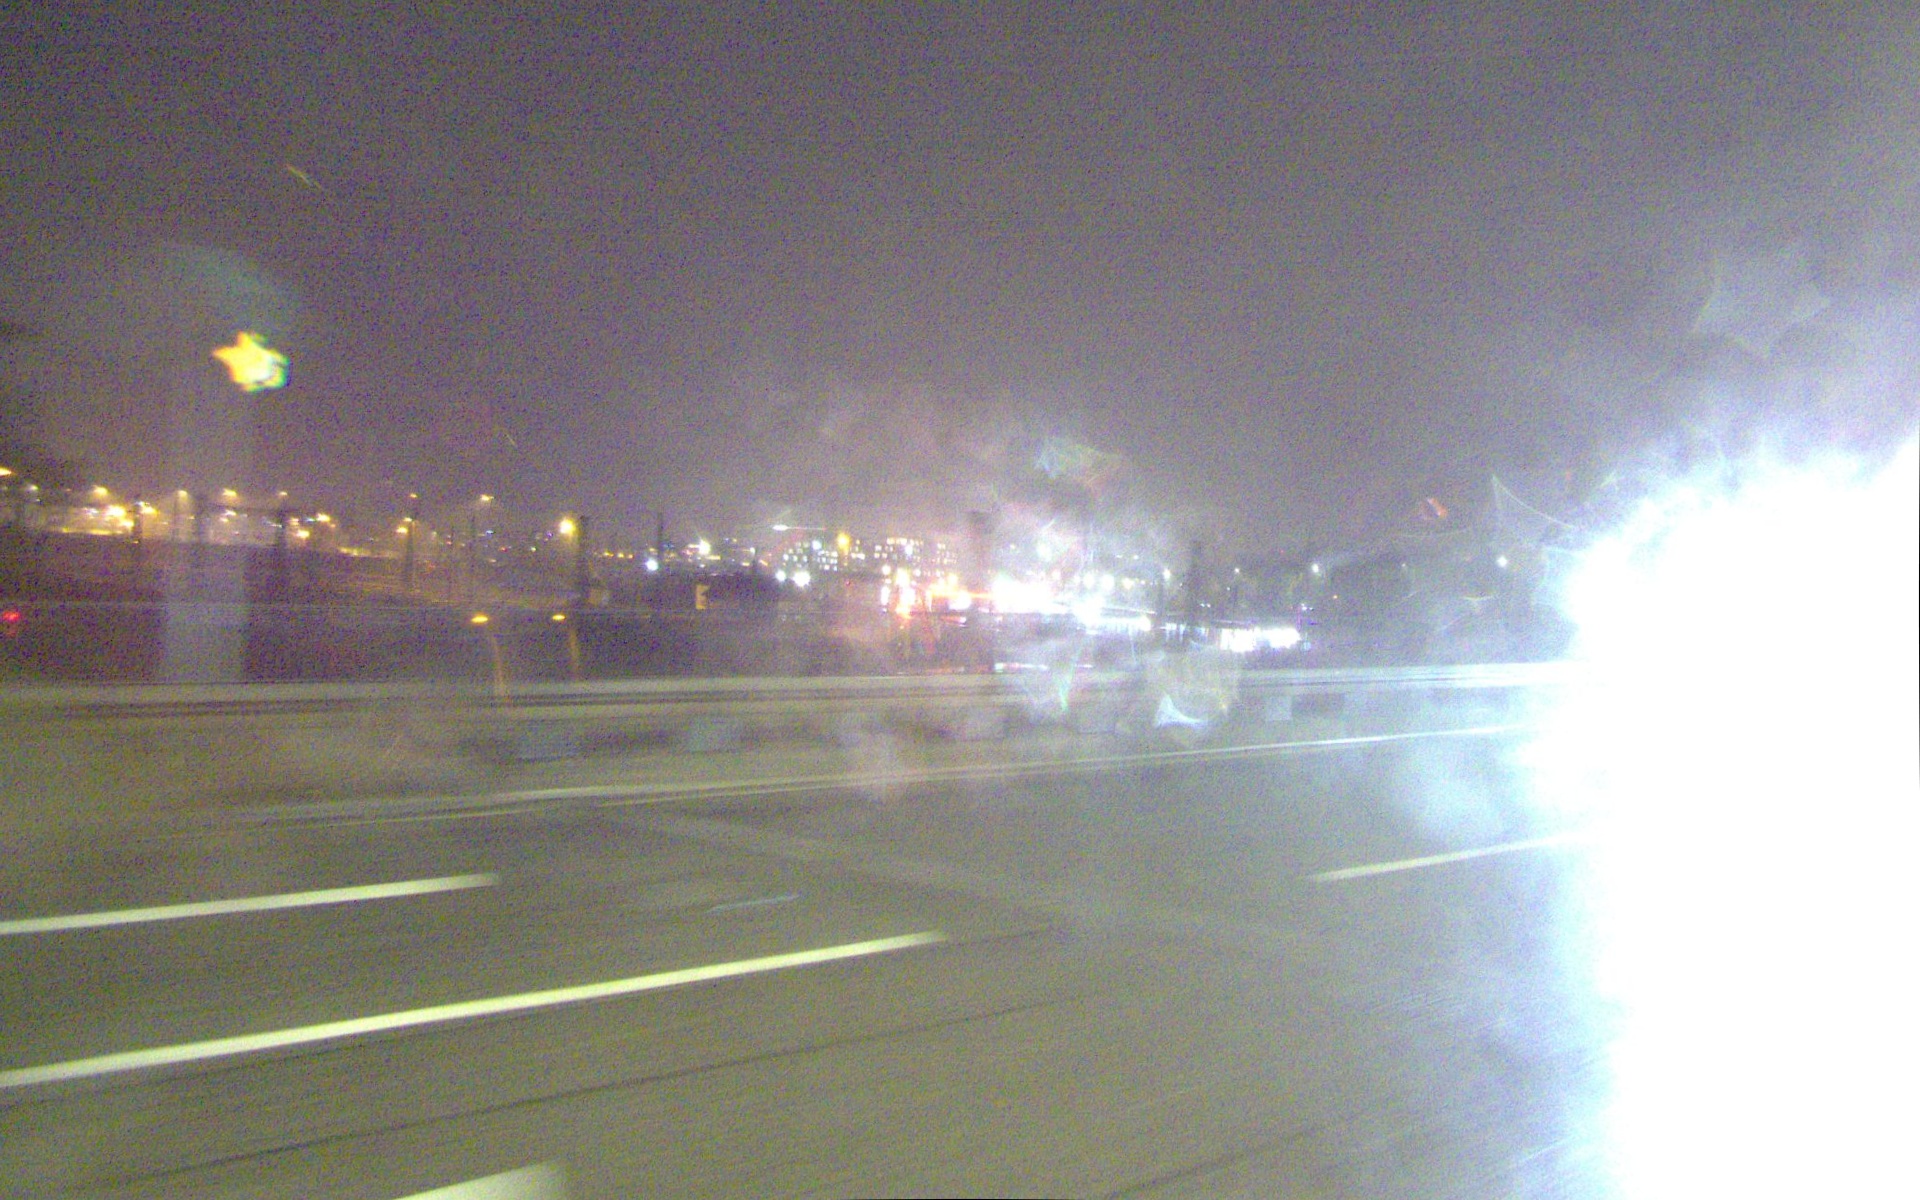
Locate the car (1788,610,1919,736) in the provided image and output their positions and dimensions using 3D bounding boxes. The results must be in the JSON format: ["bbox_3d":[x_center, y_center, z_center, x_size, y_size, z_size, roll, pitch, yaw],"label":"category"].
[{"bbox_3d":[13.483,0.972,14.561,3.158,1.606,1.462,0,1,-34],"label":"car"}]
